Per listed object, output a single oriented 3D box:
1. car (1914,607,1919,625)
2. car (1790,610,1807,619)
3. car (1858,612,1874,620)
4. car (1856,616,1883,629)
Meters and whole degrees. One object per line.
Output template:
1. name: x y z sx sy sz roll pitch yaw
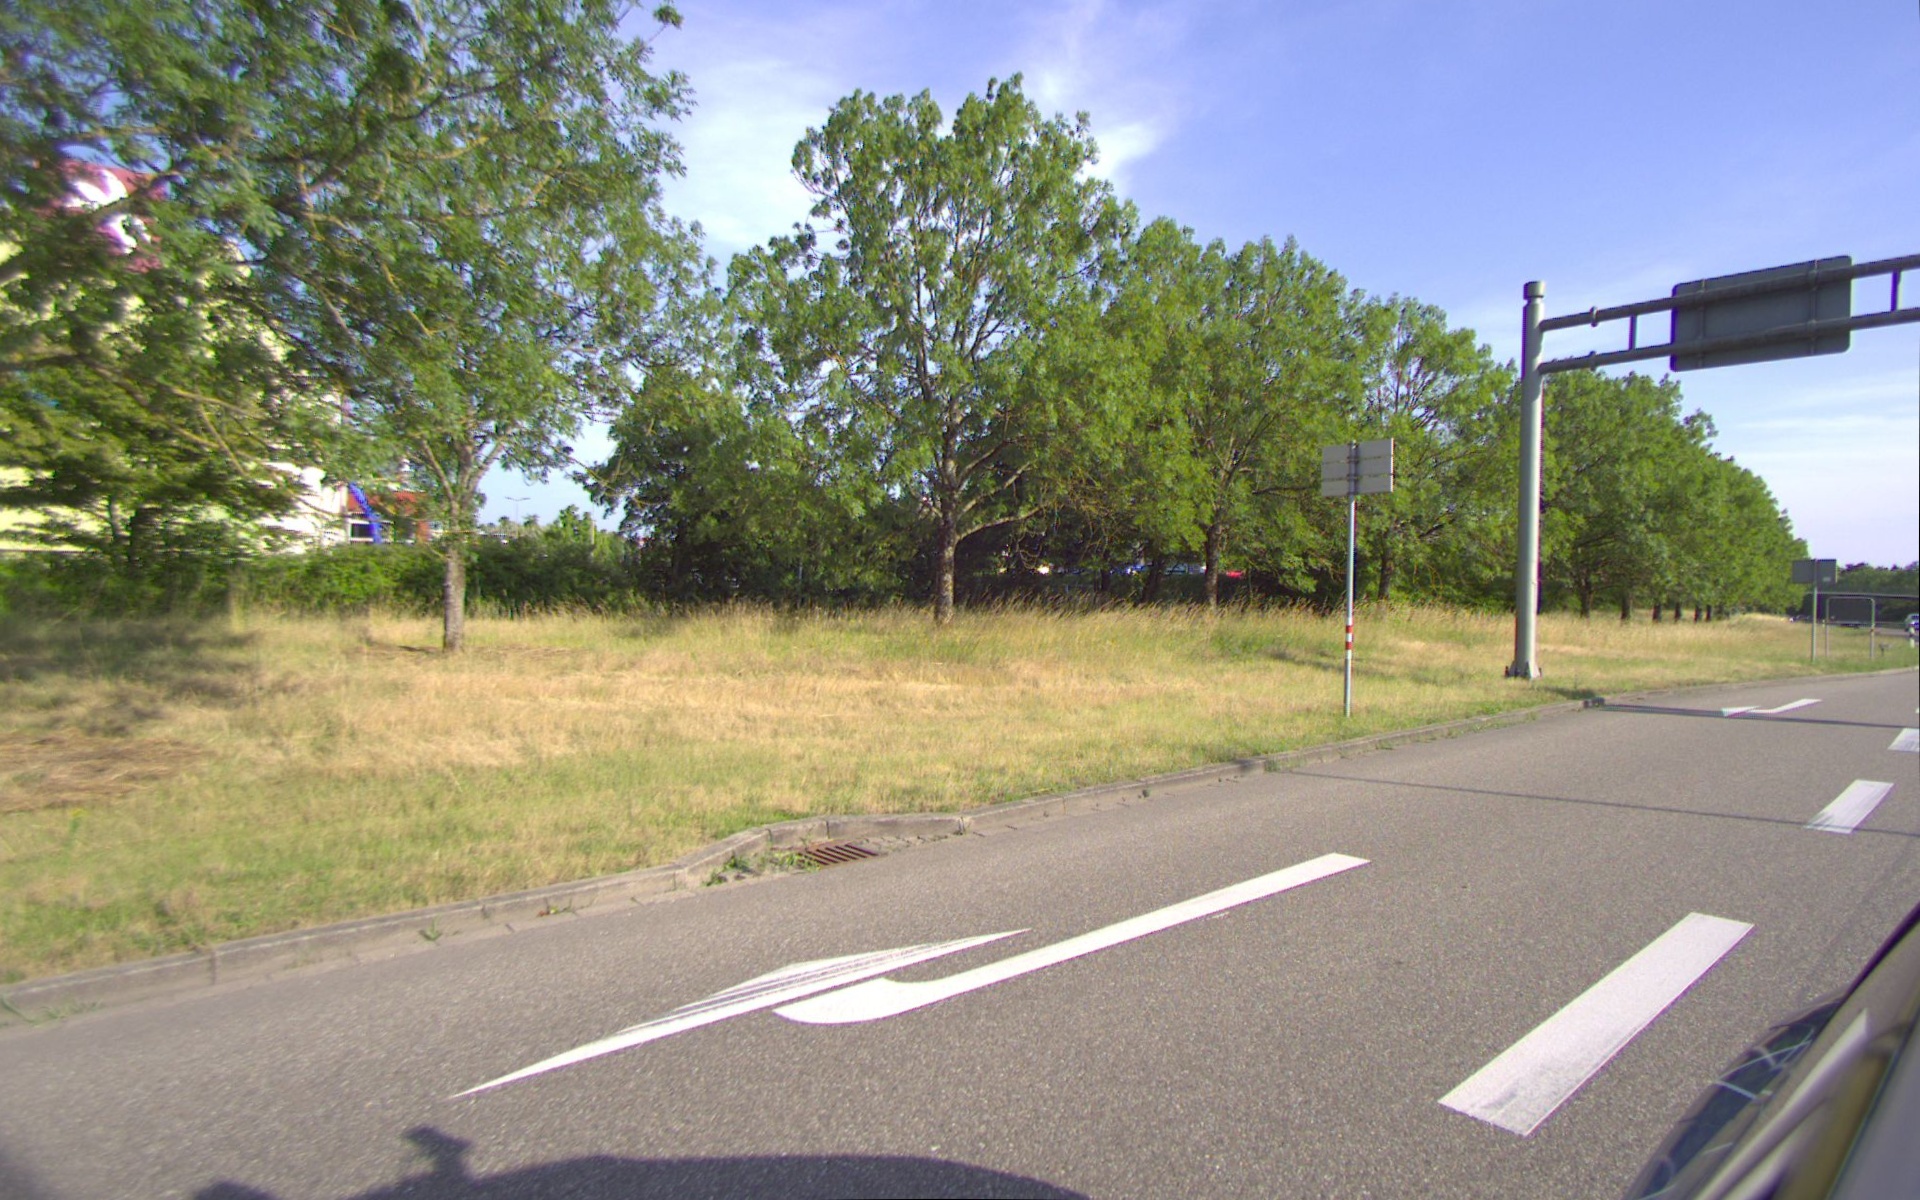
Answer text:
1. car: 97.456 1.621 101.556 1.890 1.847 4.301 0 -1 35
2. car: 152.540 2.600 184.069 1.882 1.474 3.864 2 2 33
3. car: 163.606 2.867 182.850 1.636 1.459 4.148 0 -1 35
4. car: 108.641 2.670 120.904 1.890 1.403 4.301 0 -1 35
